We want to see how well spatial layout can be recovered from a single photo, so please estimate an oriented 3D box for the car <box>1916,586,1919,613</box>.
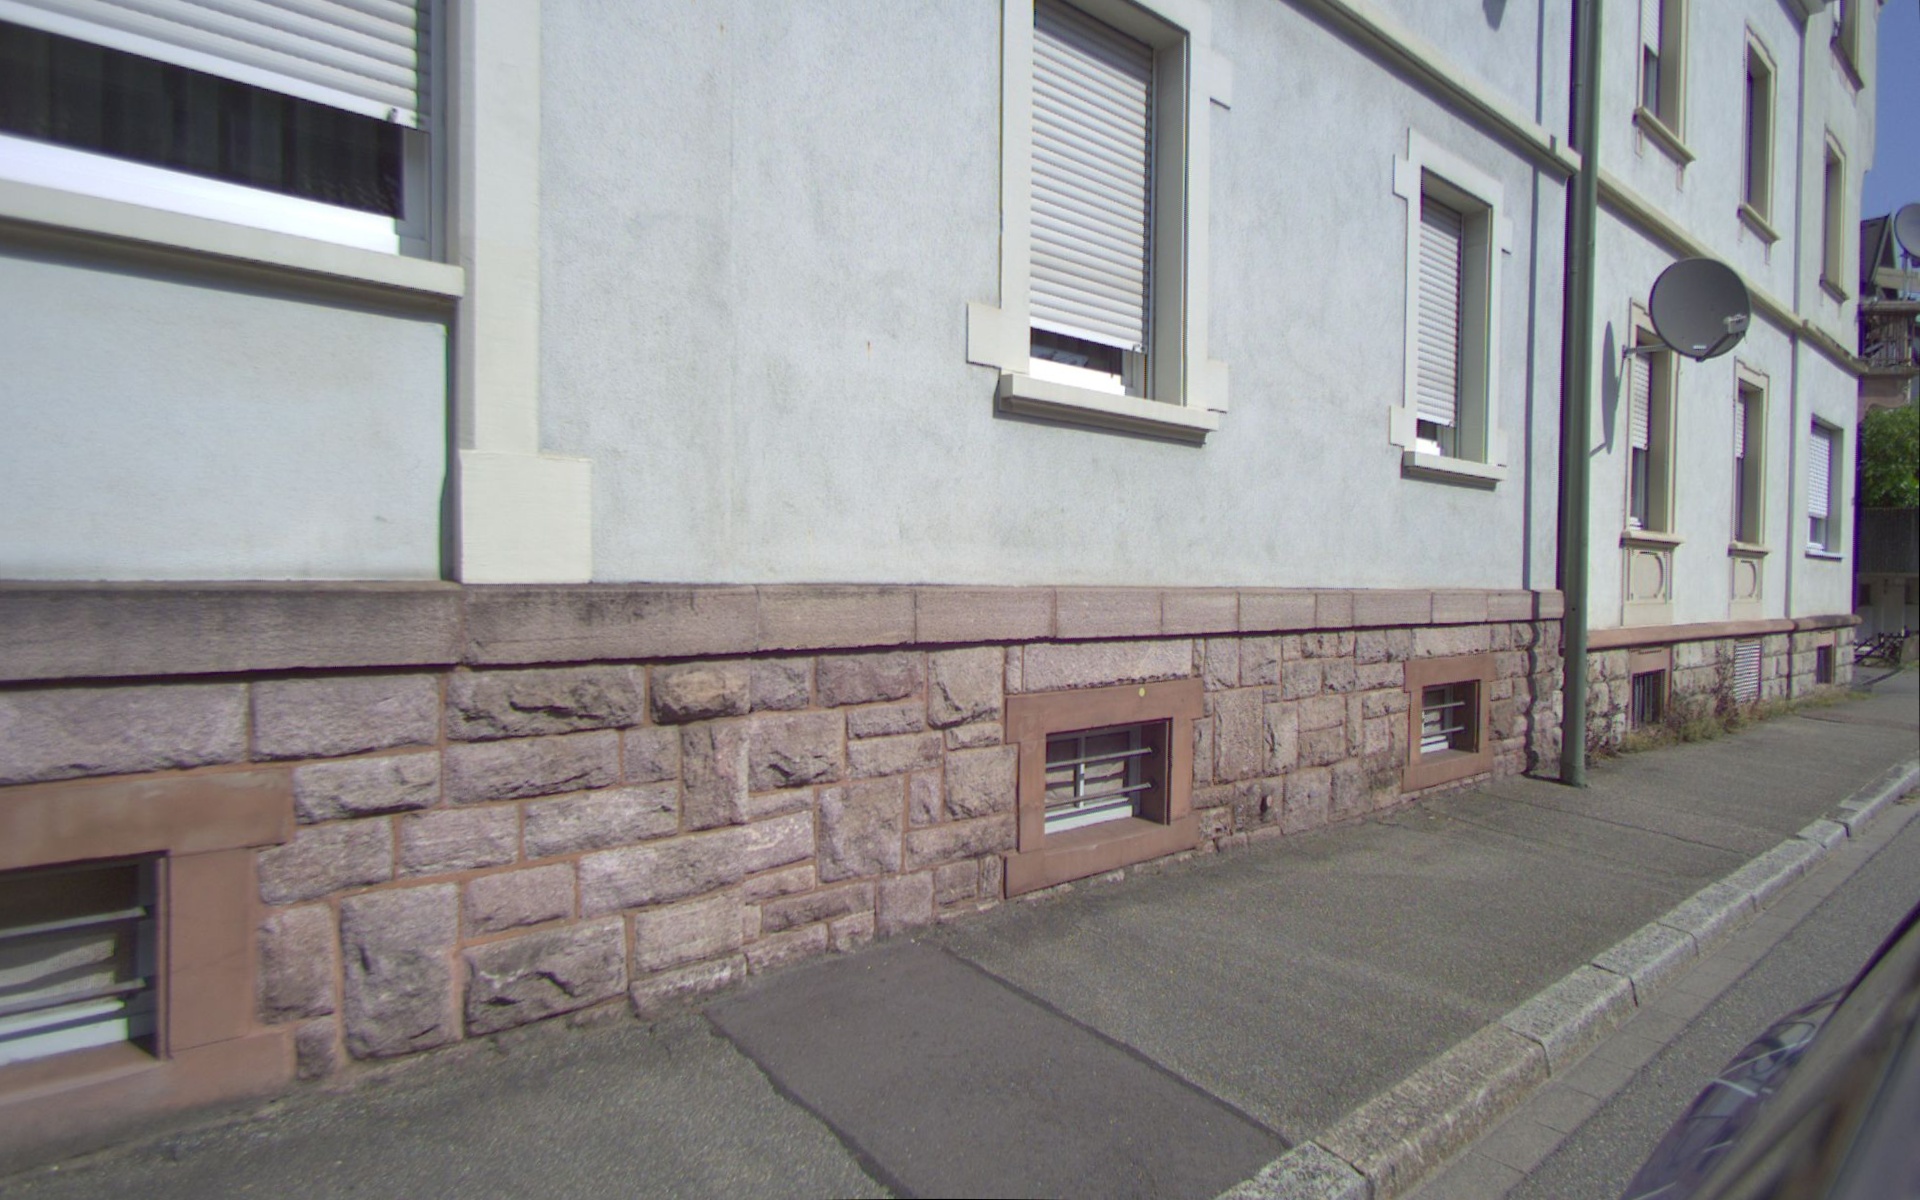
[{"bbox_3d":[55.306,-0.046,55.722,1.671,1.498,3.831,1,-1,-43],"label":"car"}]
